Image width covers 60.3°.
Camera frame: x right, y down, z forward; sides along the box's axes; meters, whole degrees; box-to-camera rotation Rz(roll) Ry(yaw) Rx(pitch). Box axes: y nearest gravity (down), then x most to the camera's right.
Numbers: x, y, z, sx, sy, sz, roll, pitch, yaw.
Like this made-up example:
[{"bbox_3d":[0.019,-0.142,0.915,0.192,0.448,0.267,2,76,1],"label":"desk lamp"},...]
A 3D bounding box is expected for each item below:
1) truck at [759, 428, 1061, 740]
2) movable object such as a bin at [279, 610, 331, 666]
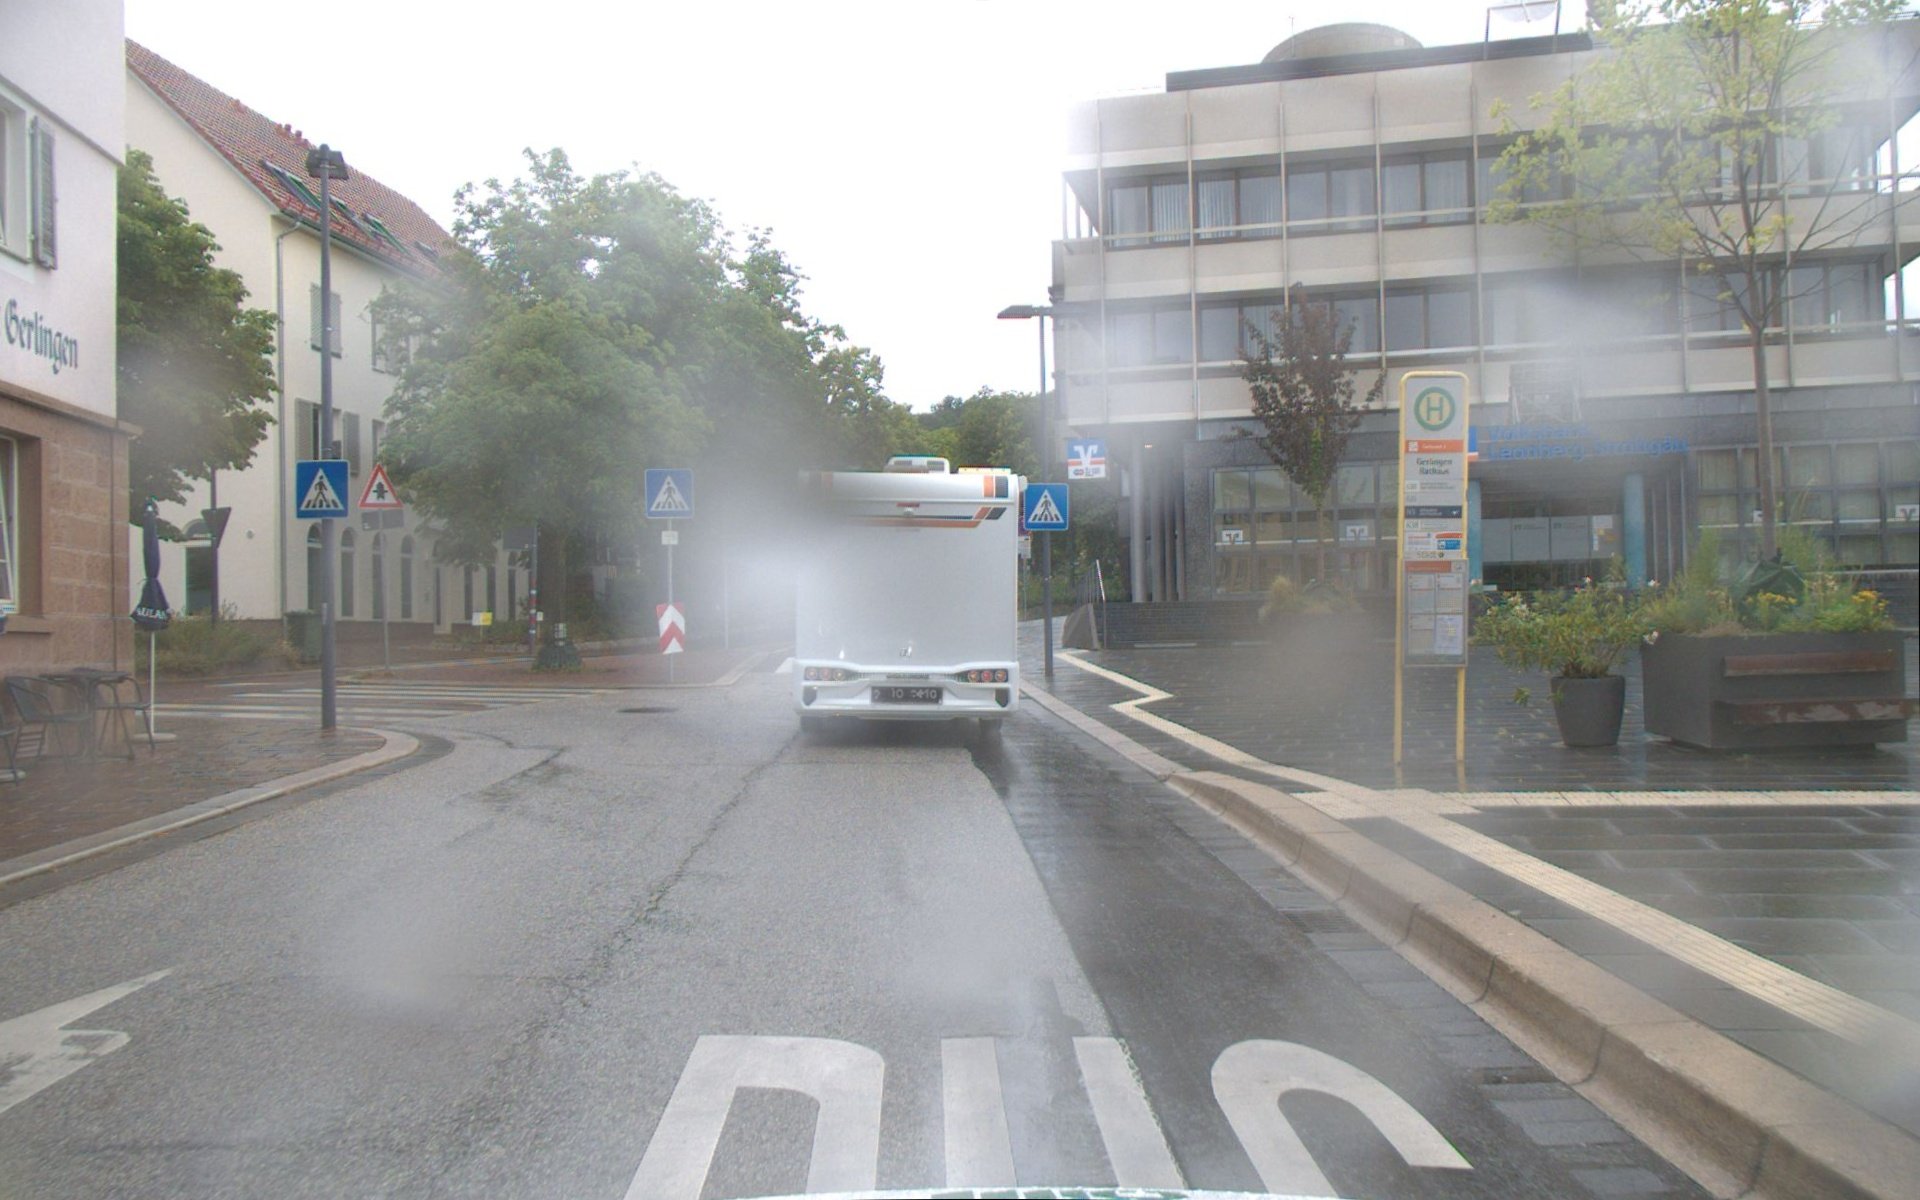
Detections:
[{"bbox_3d":[-0.609,-0.120,18.756,2.750,2.845,6.103,-3,-1,-3],"label":"truck"},{"bbox_3d":[-13.169,0.757,33.261,0.621,1.077,0.698,-3,-1,23],"label":"movable object such as a bin"}]
